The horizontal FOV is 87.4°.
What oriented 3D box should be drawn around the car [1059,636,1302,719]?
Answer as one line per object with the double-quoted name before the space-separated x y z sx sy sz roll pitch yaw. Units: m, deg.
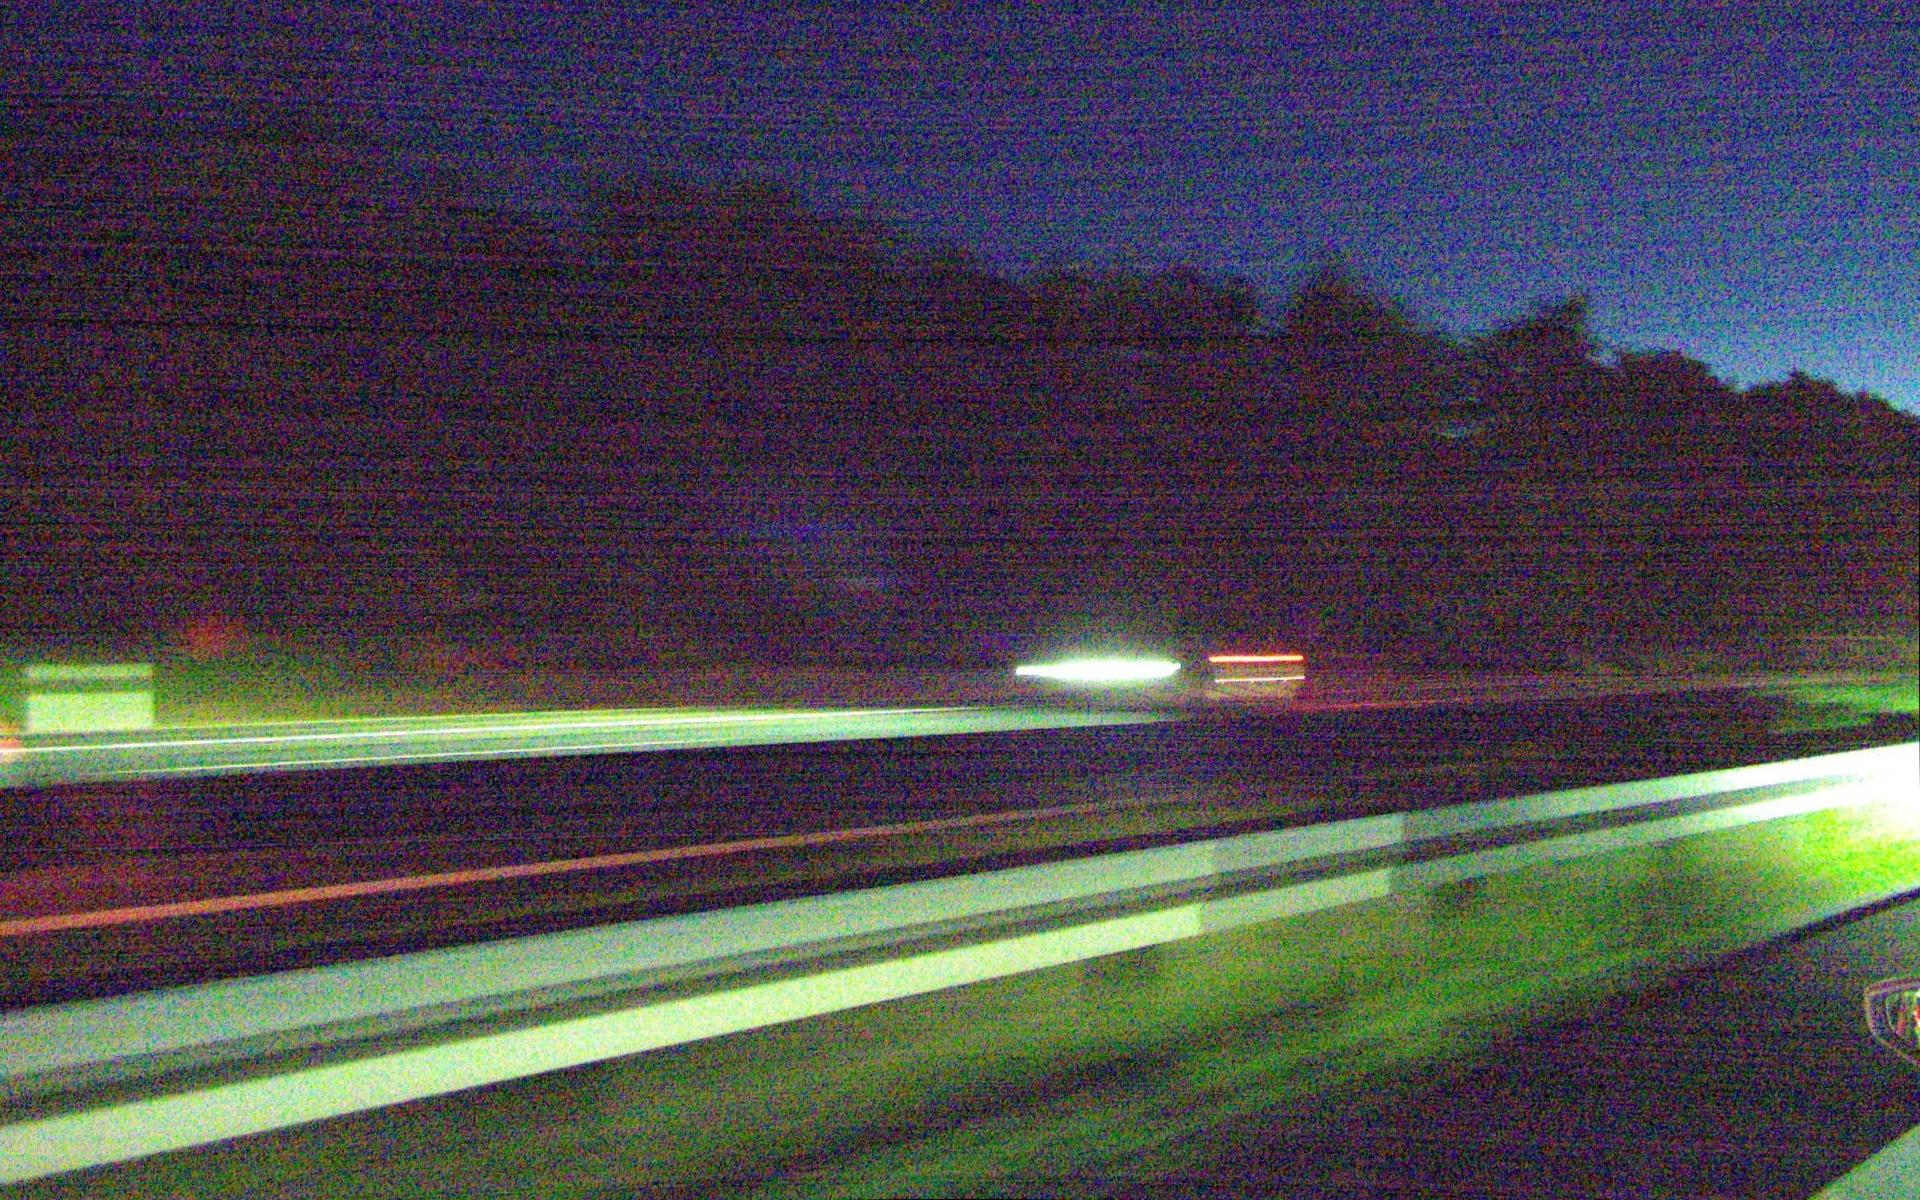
"car" 4.515 1.497 20.395 4.744 1.505 1.984 1 -3 -30
